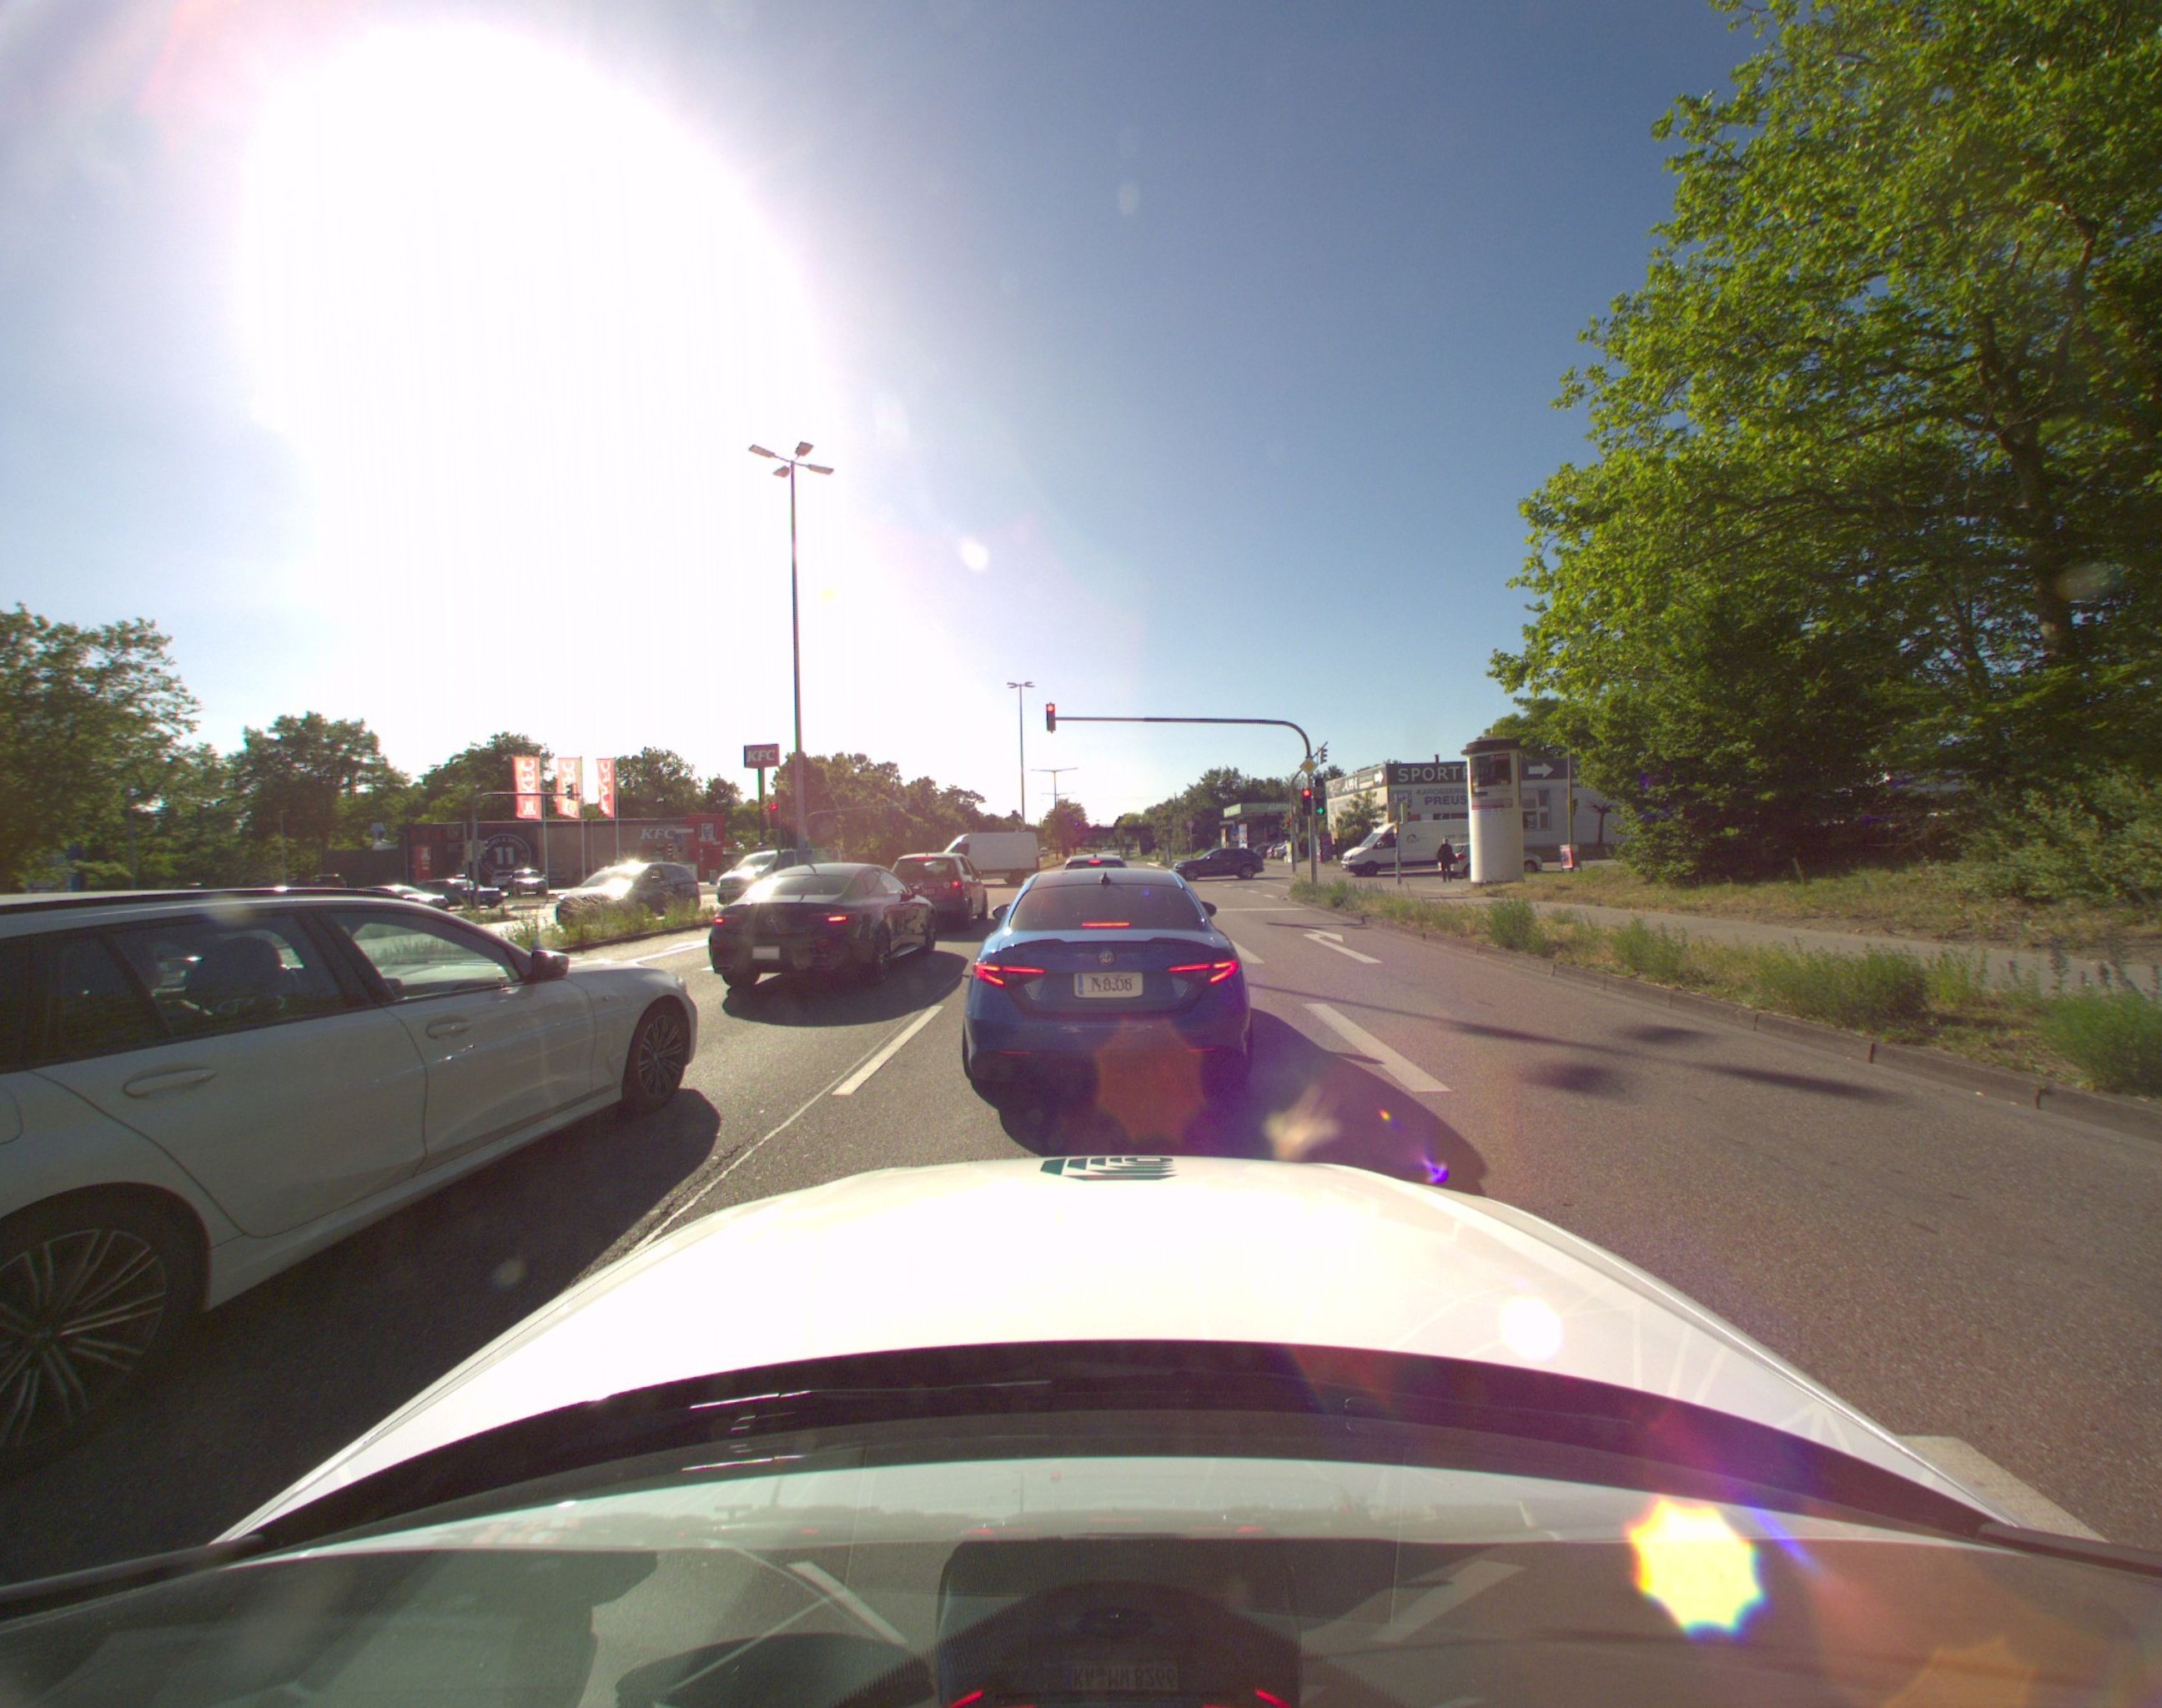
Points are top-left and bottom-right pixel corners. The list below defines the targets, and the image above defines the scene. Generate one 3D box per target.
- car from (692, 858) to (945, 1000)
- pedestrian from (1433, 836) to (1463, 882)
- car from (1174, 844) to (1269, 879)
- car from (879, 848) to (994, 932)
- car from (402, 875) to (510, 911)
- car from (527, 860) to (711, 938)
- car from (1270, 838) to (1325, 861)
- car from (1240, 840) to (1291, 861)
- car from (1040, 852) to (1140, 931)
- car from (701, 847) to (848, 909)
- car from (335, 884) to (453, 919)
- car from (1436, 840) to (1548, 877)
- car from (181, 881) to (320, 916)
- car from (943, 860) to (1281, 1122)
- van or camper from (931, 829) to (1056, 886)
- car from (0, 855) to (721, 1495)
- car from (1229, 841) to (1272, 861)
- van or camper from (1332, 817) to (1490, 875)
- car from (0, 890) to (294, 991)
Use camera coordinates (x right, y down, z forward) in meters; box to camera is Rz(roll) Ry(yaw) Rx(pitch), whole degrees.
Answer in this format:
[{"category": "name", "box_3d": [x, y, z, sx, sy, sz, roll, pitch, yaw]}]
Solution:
[{"category": "car", "box_3d": [-3.143, 0.806, 10.820, 1.762, 1.414, 4.463, -1, 0, 2]}, {"category": "pedestrian", "box_3d": [14.179, 0.179, 31.510, 0.818, 1.721, 0.856, -2, 0, 9]}, {"category": "car", "box_3d": [7.210, 0.391, 42.145, 4.583, 1.653, 2.000, -1, 0, 0]}, {"category": "car", "box_3d": [-3.004, 0.692, 17.725, 1.642, 1.598, 3.933, -1, 0, 2]}, {"category": "car", "box_3d": [-31.923, 1.976, 41.678, 4.025, 1.595, 1.824, -1, 0, -1]}, {"category": "car", "box_3d": [-11.673, 1.058, 21.009, 1.870, 1.690, 4.443, -2, 0, 5]}, {"category": "car", "box_3d": [17.509, -0.364, 65.853, 3.993, 1.706, 1.687, -1, 0, -15]}, {"category": "car", "box_3d": [16.039, -0.295, 70.747, 3.997, 1.706, 1.685, -1, 0, -18]}, {"category": "car", "box_3d": [0.231, 0.695, 17.183, 1.859, 1.450, 3.933, -1, 0, 2]}, {"category": "car", "box_3d": [-10.954, 0.808, 29.556, 1.976, 2.013, 5.055, -1, 0, 24]}, {"category": "car", "box_3d": [-32.127, 2.226, 38.155, 4.019, 1.429, 1.826, -1, 0, 3]}, {"category": "car", "box_3d": [17.510, 0.171, 34.753, 3.975, 1.477, 1.736, -1, 0, -8]}, {"category": "car", "box_3d": [-39.249, 2.071, 38.564, 4.701, 1.429, 1.865, -1, 1, 2]}, {"category": "car", "box_3d": [0.233, 0.781, 6.503, 1.859, 1.385, 3.933, -1, 0, 2]}, {"category": "van or camper", "box_3d": [-4.388, 0.131, 41.010, 5.953, 2.651, 1.988, -1, 0, -18]}, {"category": "car", "box_3d": [-3.430, 0.791, 3.347, 1.762, 1.509, 4.463, -1, 0, 2]}, {"category": "car", "box_3d": [15.382, -0.259, 73.955, 3.489, 1.706, 1.687, -1, 0, -14]}, {"category": "van or camper", "box_3d": [15.844, -0.391, 39.366, 6.708, 2.572, 2.185, -1, 0, 1]}, {"category": "car", "box_3d": [-18.573, 1.596, 15.742, 1.894, 1.446, 4.616, -4, 0, 6]}]
